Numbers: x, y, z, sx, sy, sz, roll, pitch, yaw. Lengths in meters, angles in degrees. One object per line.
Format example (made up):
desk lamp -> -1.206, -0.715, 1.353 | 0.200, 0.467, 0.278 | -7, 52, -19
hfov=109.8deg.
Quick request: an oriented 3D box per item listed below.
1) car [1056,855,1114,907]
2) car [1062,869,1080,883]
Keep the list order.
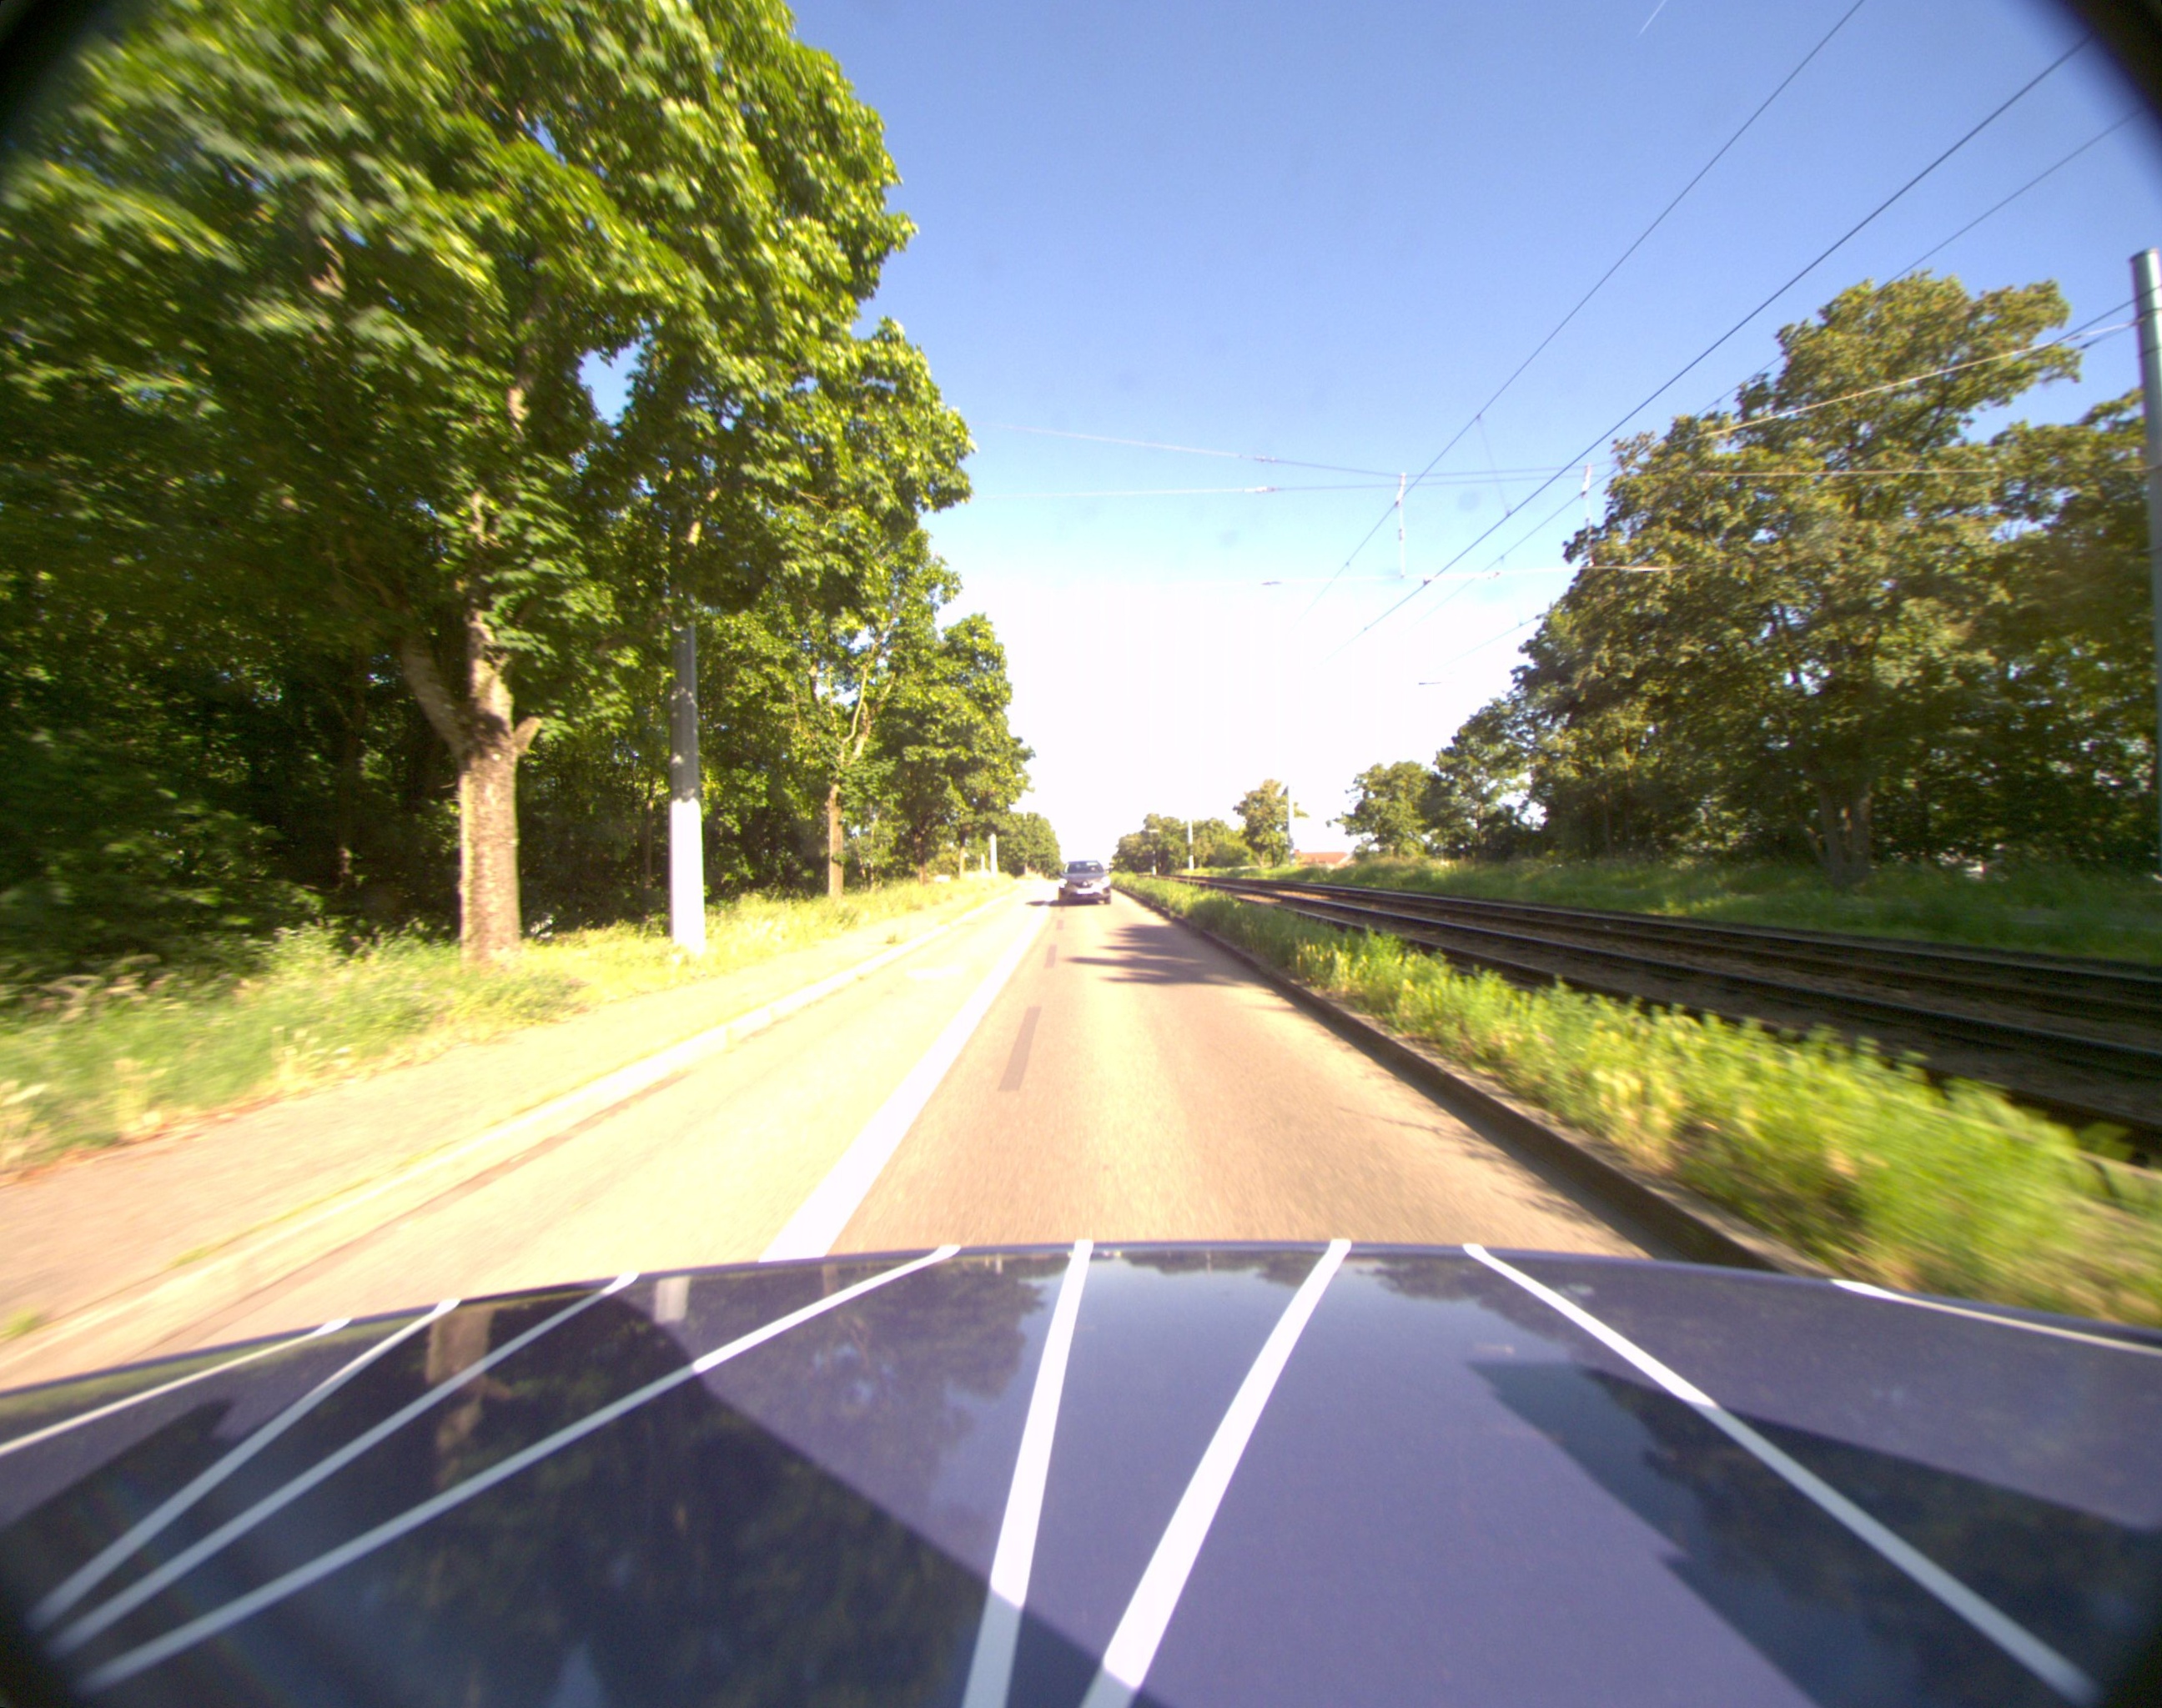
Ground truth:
car -> 0.086, 0.899, 27.250 | 1.822, 1.589, 4.412 | -3, 0, -1
car -> -1.308, 2.760, 97.845 | 1.999, 1.577, 3.998 | -3, 0, -4
